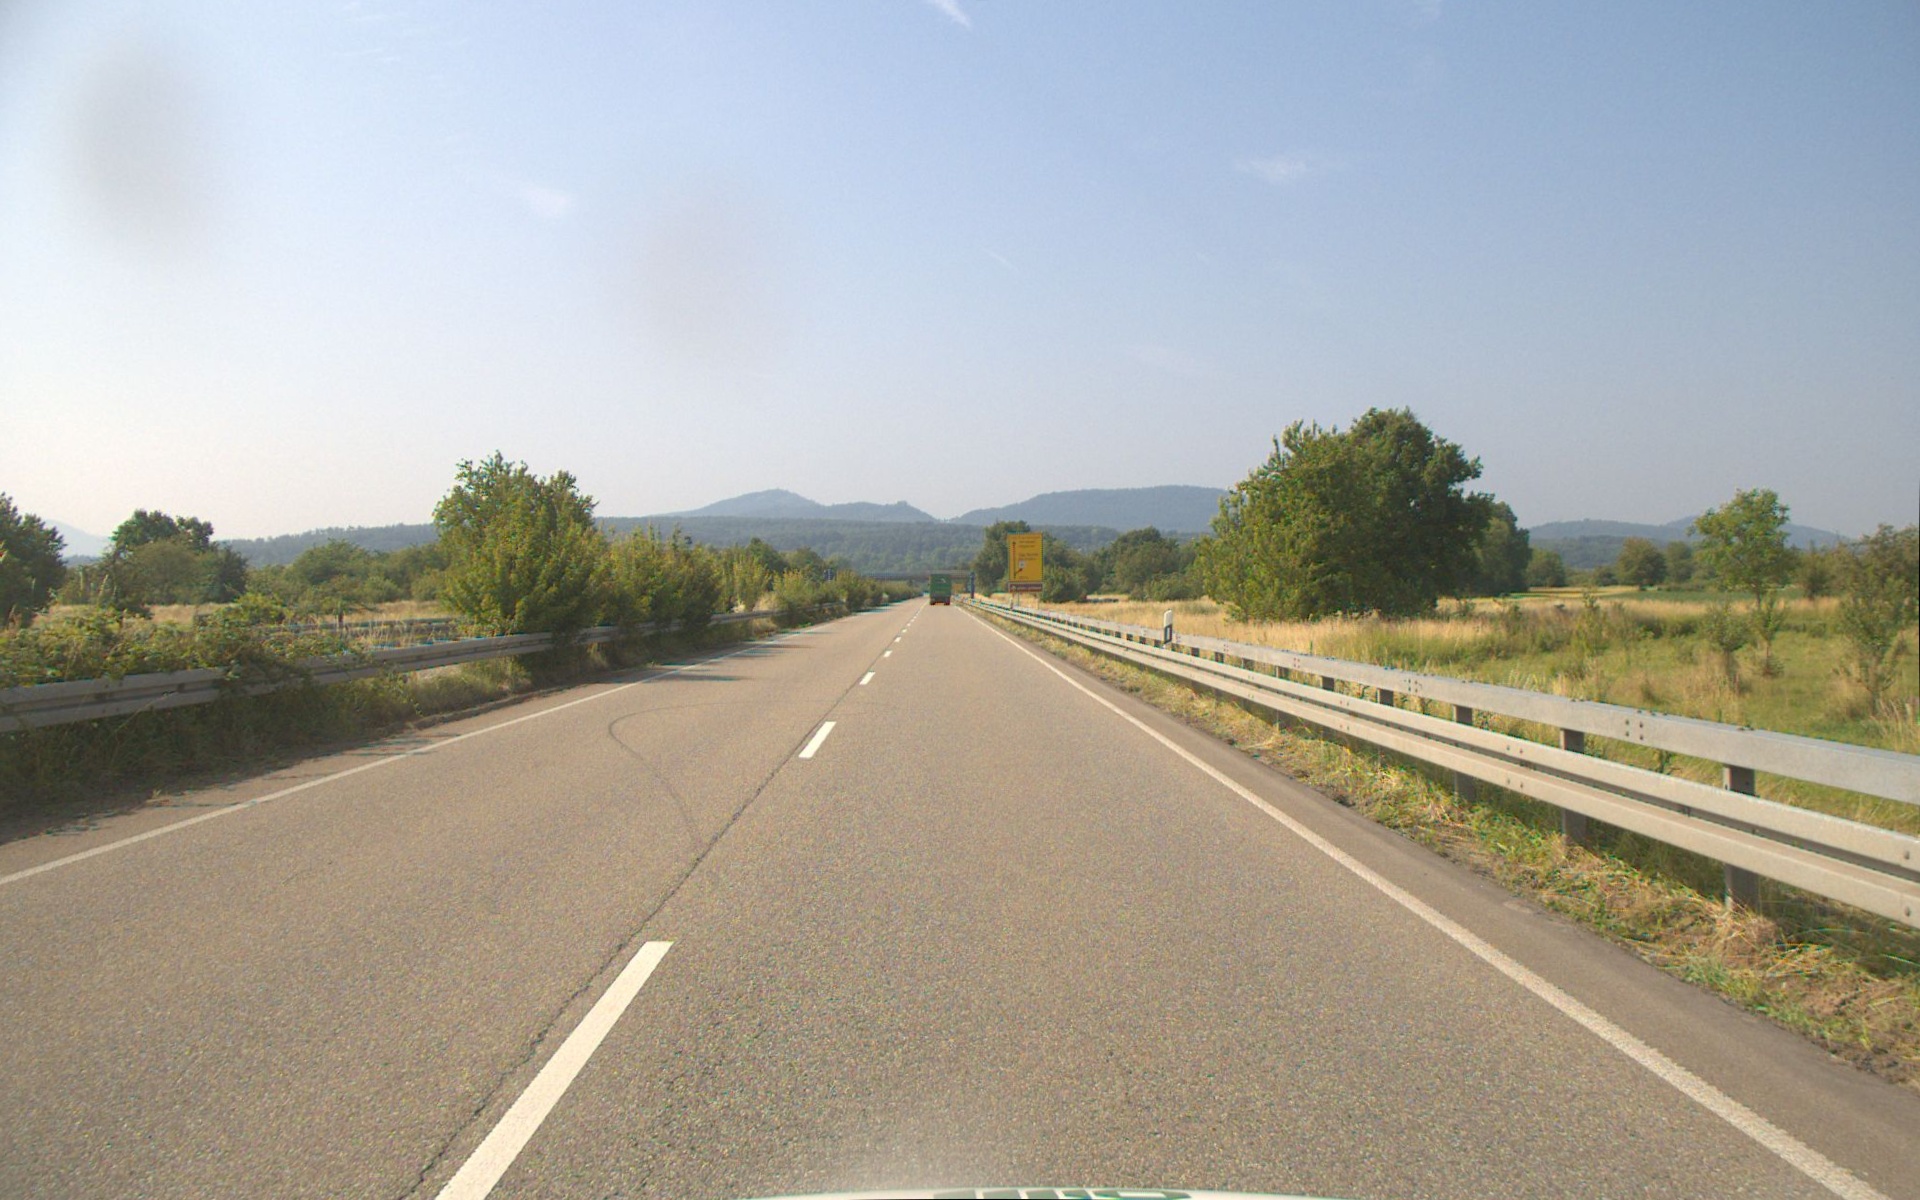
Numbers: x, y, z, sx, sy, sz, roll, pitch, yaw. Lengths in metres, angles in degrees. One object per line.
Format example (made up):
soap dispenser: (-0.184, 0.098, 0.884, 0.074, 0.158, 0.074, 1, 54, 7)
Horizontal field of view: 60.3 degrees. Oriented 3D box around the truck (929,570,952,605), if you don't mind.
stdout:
truck: (-2.309, -1.590, 200.394, 2.667, 4.034, 10.415, 1, 1, -1)
